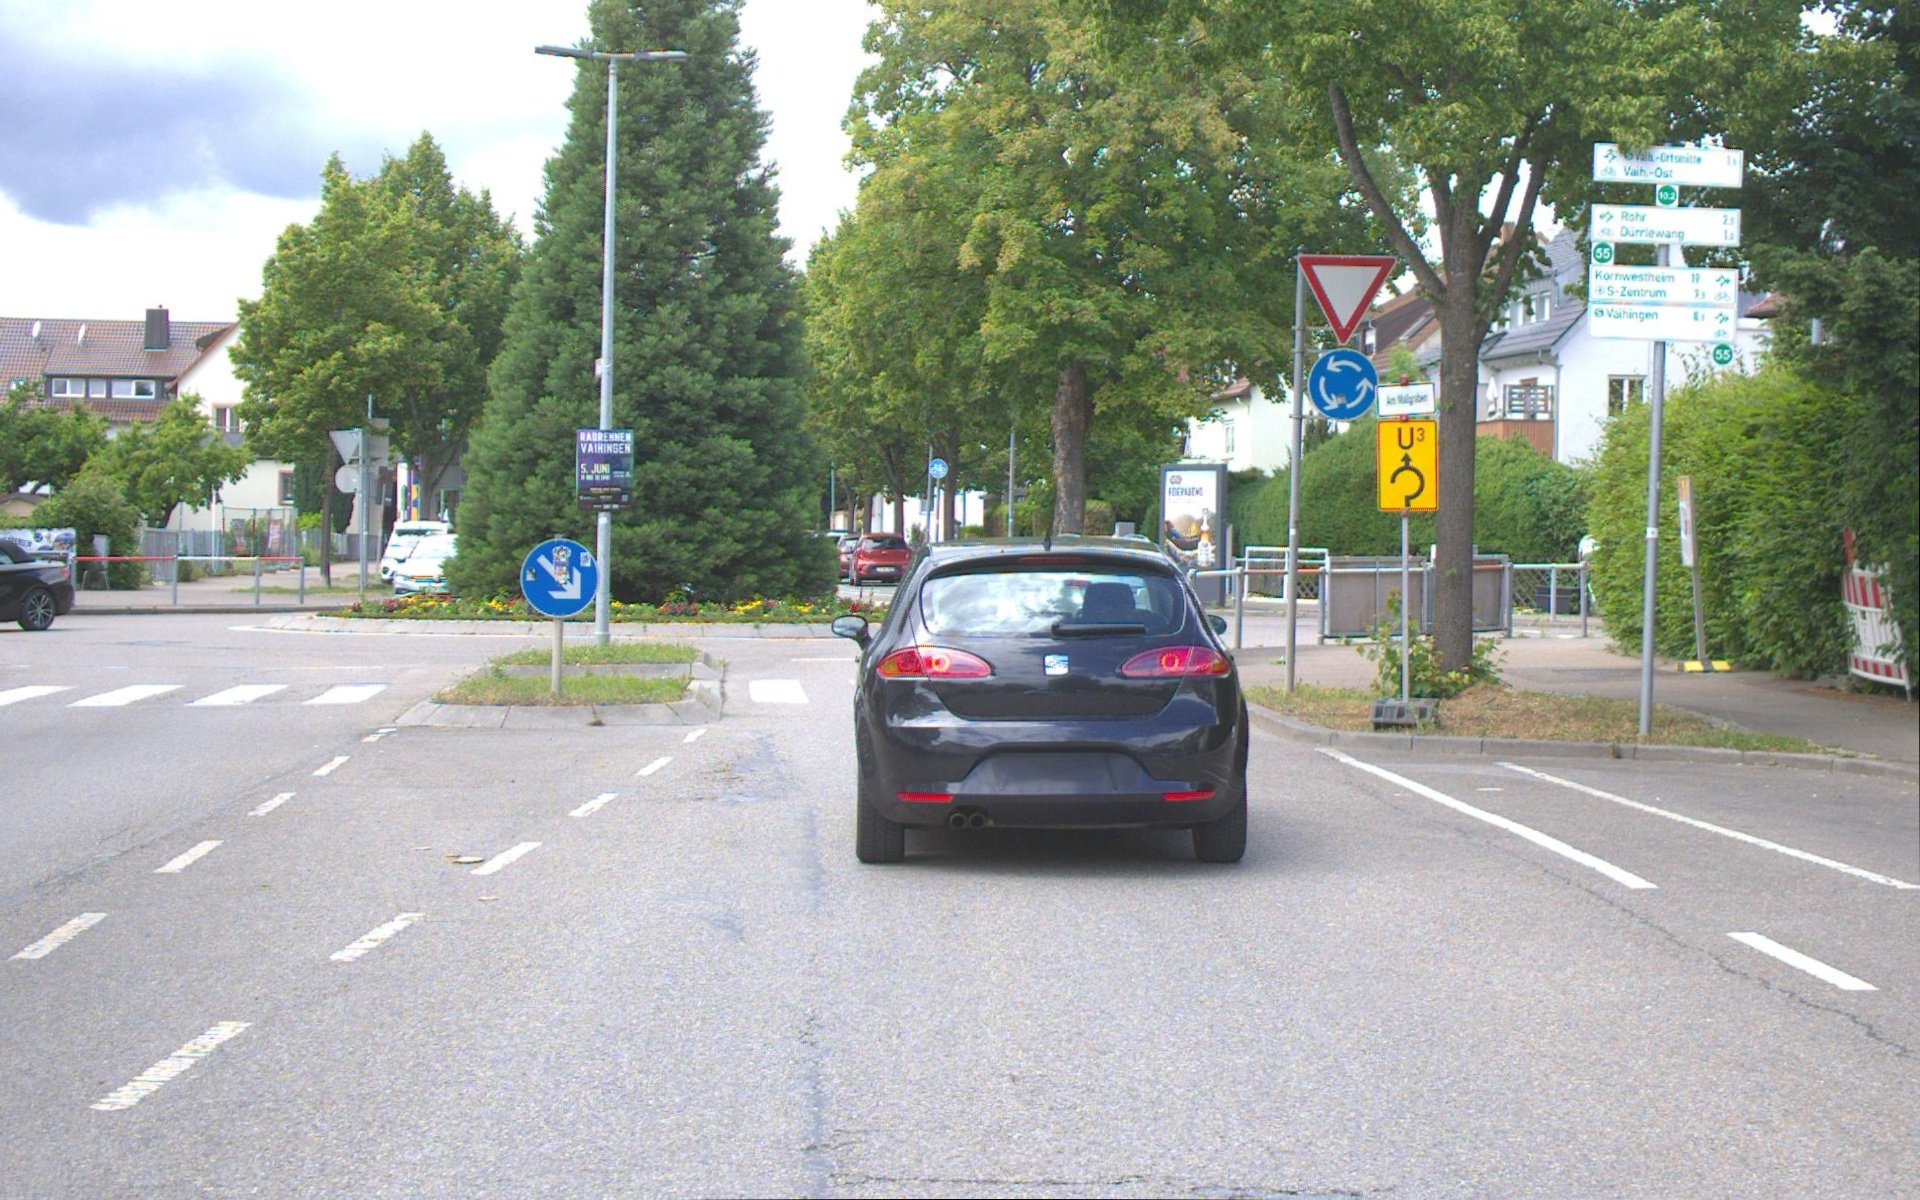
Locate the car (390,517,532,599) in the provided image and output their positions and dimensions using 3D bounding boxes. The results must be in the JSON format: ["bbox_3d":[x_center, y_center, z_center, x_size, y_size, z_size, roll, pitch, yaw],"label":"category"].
[{"bbox_3d":[-9.753,-0.845,67.494,1.869,1.555,4.259,0,1,4],"label":"car"}]

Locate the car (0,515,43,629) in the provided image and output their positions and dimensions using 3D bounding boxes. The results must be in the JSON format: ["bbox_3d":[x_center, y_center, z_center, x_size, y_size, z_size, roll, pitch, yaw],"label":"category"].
[{"bbox_3d":[-14.915,-0.396,48.838,1.571,1.628,3.616,1,1,29],"label":"car"}]

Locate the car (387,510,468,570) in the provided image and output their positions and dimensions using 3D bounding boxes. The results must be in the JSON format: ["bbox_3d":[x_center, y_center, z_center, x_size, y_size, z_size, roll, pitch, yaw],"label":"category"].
[{"bbox_3d":[-14.493,-1.646,93.788,1.797,1.596,4.001,0,1,-3],"label":"car"}]

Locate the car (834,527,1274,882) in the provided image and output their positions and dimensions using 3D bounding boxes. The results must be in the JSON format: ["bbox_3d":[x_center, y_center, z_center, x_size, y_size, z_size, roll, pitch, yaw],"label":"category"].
[{"bbox_3d":[0.323,0.396,16.373,1.732,1.481,4.001,0,1,-4],"label":"car"}]

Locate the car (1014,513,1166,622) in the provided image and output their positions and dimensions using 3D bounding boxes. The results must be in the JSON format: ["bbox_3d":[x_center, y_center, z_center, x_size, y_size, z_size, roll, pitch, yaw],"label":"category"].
[{"bbox_3d":[1.975,-0.529,53.472,1.993,1.607,4.001,1,1,-3],"label":"car"}]

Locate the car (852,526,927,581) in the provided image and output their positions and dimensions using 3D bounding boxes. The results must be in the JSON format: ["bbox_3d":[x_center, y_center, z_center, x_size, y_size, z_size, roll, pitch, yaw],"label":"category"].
[{"bbox_3d":[-1.980,-1.302,95.736,1.474,1.484,3.383,0,1,-12],"label":"car"}]

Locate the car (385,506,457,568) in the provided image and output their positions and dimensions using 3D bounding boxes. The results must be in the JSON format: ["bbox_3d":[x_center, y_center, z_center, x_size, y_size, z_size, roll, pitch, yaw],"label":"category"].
[{"bbox_3d":[-17.523,-2.067,111.890,2.029,1.964,4.001,0,1,-5],"label":"car"}]

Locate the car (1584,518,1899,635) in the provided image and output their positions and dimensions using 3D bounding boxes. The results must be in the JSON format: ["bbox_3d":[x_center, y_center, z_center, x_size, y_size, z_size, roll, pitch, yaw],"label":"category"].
[{"bbox_3d":[11.960,-0.373,52.776,4.397,1.655,1.650,1,1,-2],"label":"car"}]

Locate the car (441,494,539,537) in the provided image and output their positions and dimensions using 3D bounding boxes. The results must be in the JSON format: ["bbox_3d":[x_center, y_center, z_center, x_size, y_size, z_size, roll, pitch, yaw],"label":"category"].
[{"bbox_3d":[-21.716,-3.887,158.811,3.990,1.964,2.035,0,1,17],"label":"car"}]

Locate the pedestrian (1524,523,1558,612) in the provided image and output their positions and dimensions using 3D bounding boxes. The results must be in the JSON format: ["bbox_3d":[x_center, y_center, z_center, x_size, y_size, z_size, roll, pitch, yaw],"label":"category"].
[{"bbox_3d":[10.071,-0.565,59.597,0.491,1.528,0.484,1,1,20],"label":"pedestrian"}]

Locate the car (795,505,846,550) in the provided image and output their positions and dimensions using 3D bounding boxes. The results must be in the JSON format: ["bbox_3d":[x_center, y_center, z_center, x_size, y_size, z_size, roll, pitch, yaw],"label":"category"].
[{"bbox_3d":[-4.778,-2.491,117.483,1.594,1.505,3.601,0,1,-4],"label":"car"}]
